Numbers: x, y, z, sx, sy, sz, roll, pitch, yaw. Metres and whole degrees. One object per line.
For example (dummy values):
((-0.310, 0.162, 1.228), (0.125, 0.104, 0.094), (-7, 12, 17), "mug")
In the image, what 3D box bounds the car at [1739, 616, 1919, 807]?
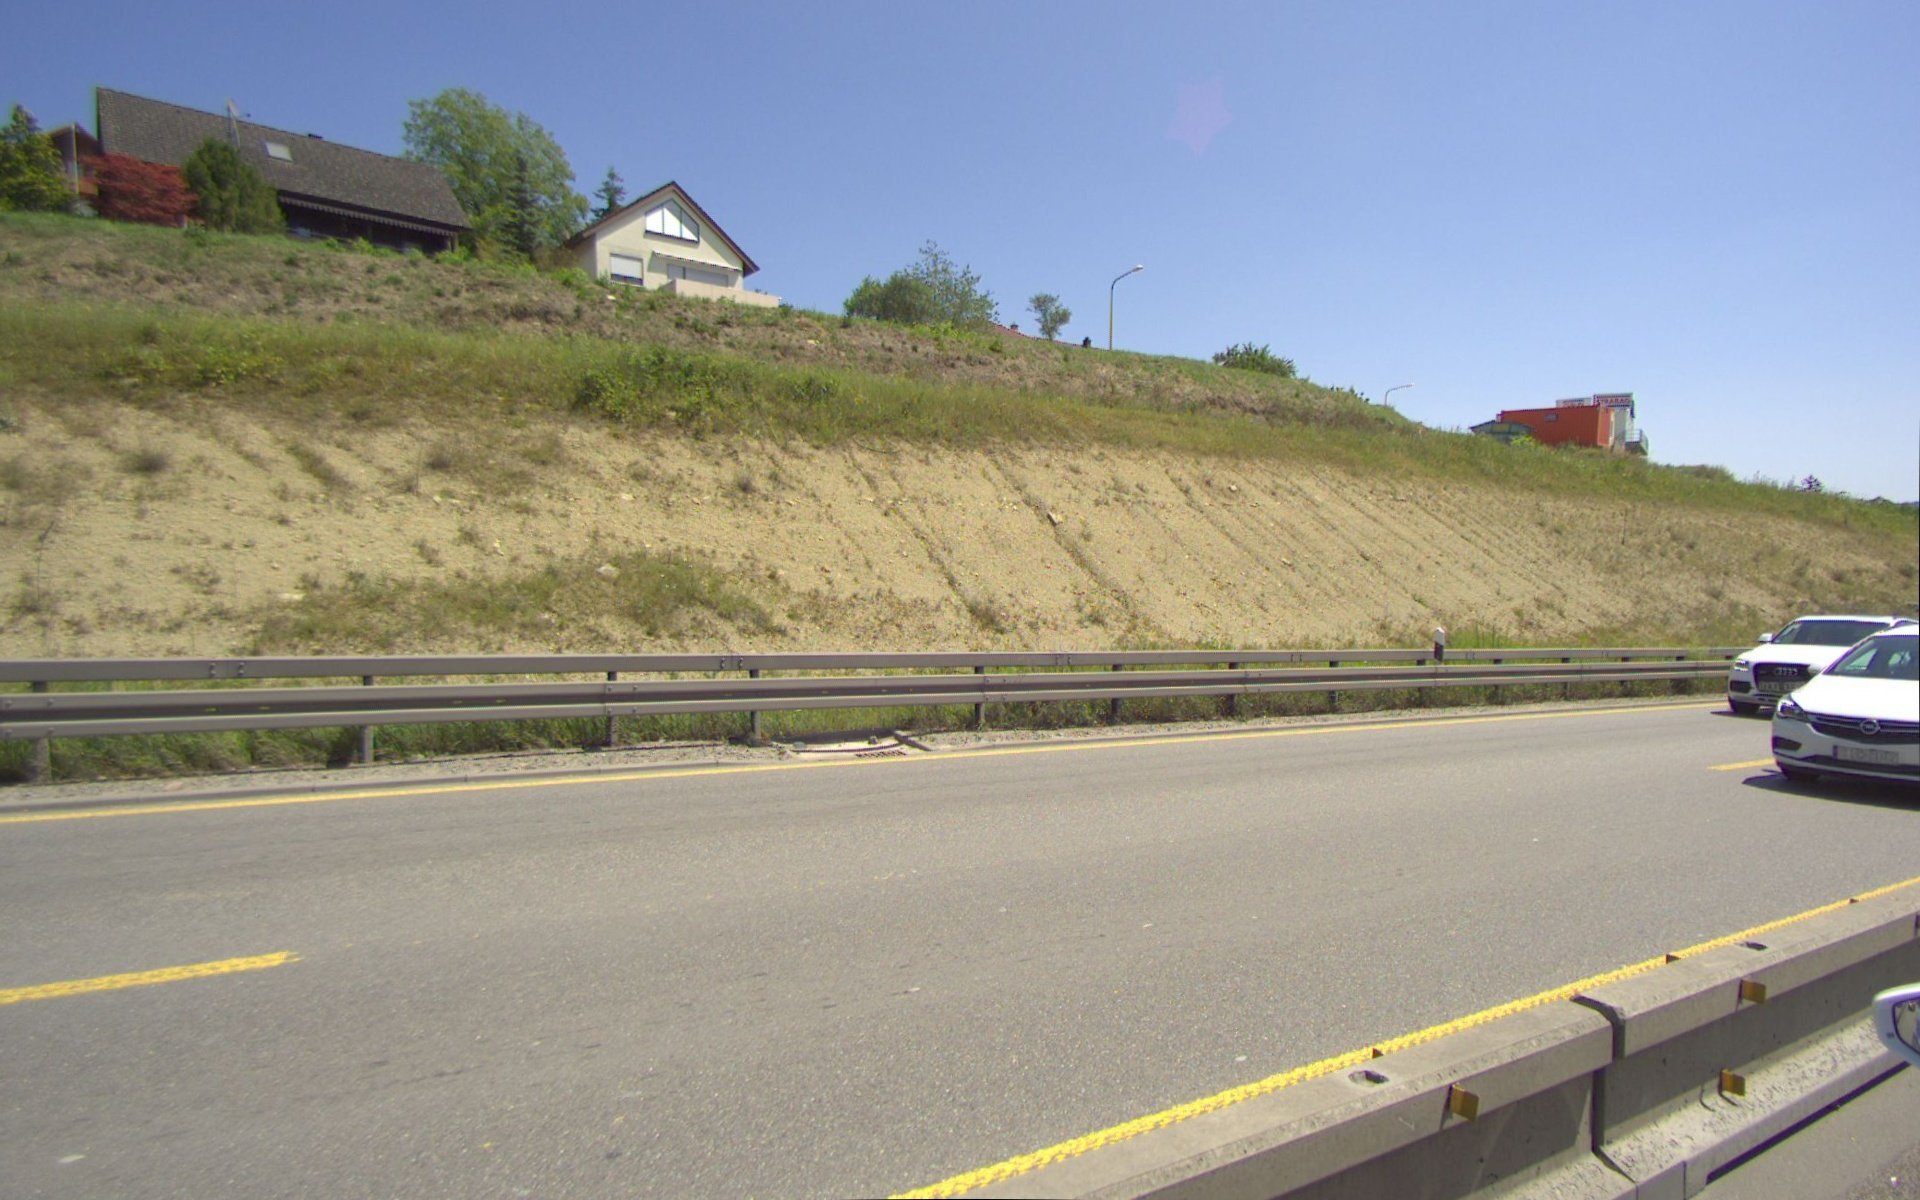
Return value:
((9.326, 0.944, 9.406), (4.231, 1.497, 1.797), (1, 0, -31), "car")

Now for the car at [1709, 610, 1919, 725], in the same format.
((14.305, 1.015, 16.304), (4.462, 1.606, 1.889), (1, 0, -31), "car")
